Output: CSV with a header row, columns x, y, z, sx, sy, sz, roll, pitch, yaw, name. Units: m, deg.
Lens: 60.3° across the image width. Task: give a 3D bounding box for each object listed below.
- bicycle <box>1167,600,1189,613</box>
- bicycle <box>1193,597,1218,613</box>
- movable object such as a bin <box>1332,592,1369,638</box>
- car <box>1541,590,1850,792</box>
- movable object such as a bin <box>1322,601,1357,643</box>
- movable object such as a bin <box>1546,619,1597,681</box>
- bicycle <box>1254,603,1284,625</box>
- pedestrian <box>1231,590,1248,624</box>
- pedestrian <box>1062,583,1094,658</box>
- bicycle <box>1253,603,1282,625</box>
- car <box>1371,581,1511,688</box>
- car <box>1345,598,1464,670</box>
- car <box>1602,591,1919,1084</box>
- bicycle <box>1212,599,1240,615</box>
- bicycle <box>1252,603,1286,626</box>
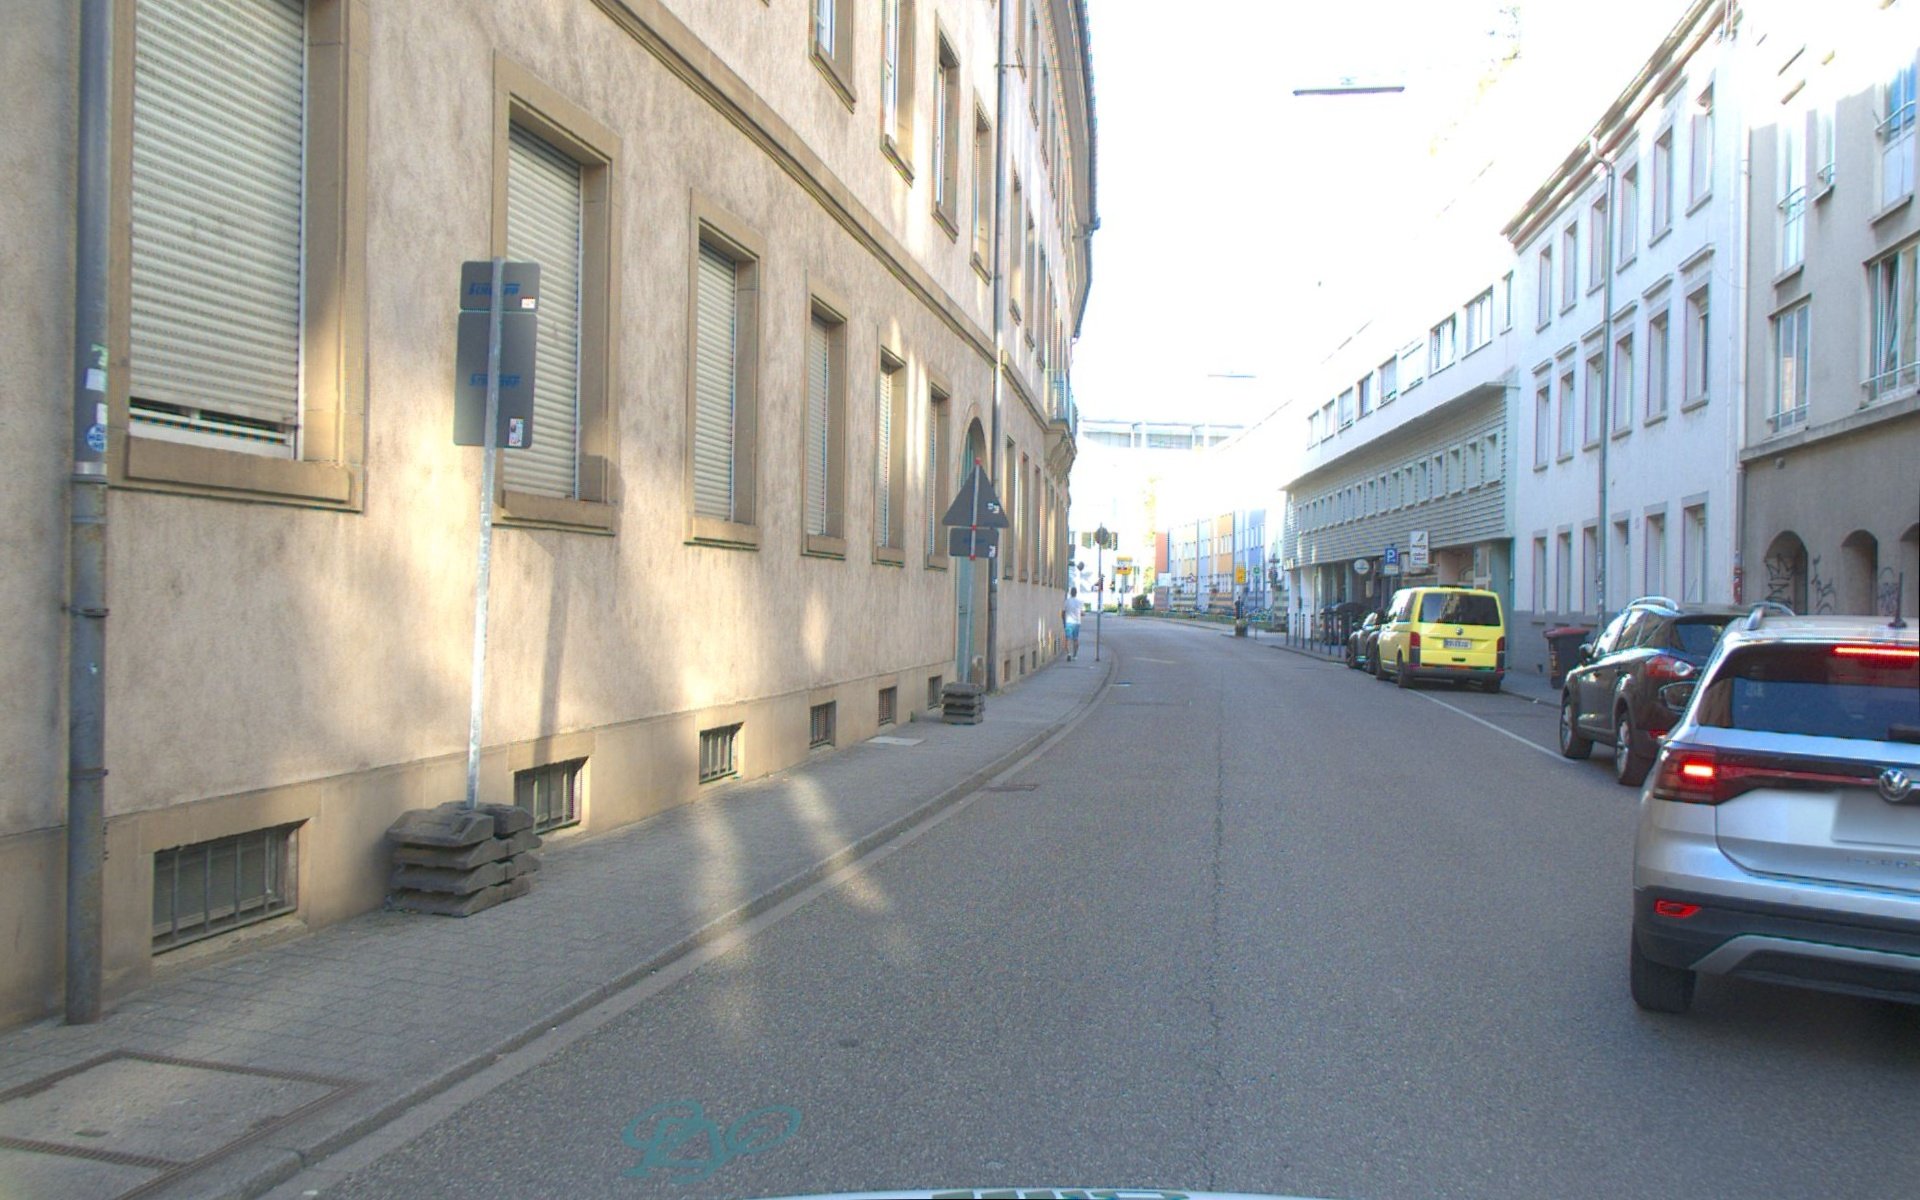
x,y,z,sx,sy,sz,roll,pitch,yaw,name
18.123,0.566,137.515,1.719,1.021,0.613,-1,-1,-3,bicycle
18.259,0.383,123.051,1.773,1.157,0.552,0,-1,0,bicycle
13.378,0.535,56.721,0.960,1.506,1.552,-1,-3,4,movable object such as a bin
7.065,0.771,16.382,1.786,1.683,4.497,1,0,11,car
13.379,0.786,58.303,0.960,1.409,1.321,-1,-3,4,movable object such as a bin
11.248,0.919,30.440,0.613,1.069,0.708,-5,-1,2,movable object such as a bin
17.537,0.809,93.810,1.609,1.161,0.283,-3,0,-7,bicycle
15.163,0.389,89.644,0.682,1.790,1.189,-2,0,2,pedestrian
2.774,0.480,38.849,0.678,1.699,0.875,2,0,6,pedestrian
17.504,0.811,94.084,1.572,1.161,0.237,-3,0,-7,bicycle
9.408,0.621,32.695,1.843,1.915,4.849,1,0,6,car
10.127,0.728,37.967,1.843,1.515,4.370,1,0,4,car
4.027,0.785,7.141,1.791,1.586,3.979,1,0,29,car
17.088,0.441,106.356,1.712,0.963,0.552,-1,-1,1,bicycle
17.260,0.818,92.405,1.712,1.161,0.552,-3,0,1,bicycle
